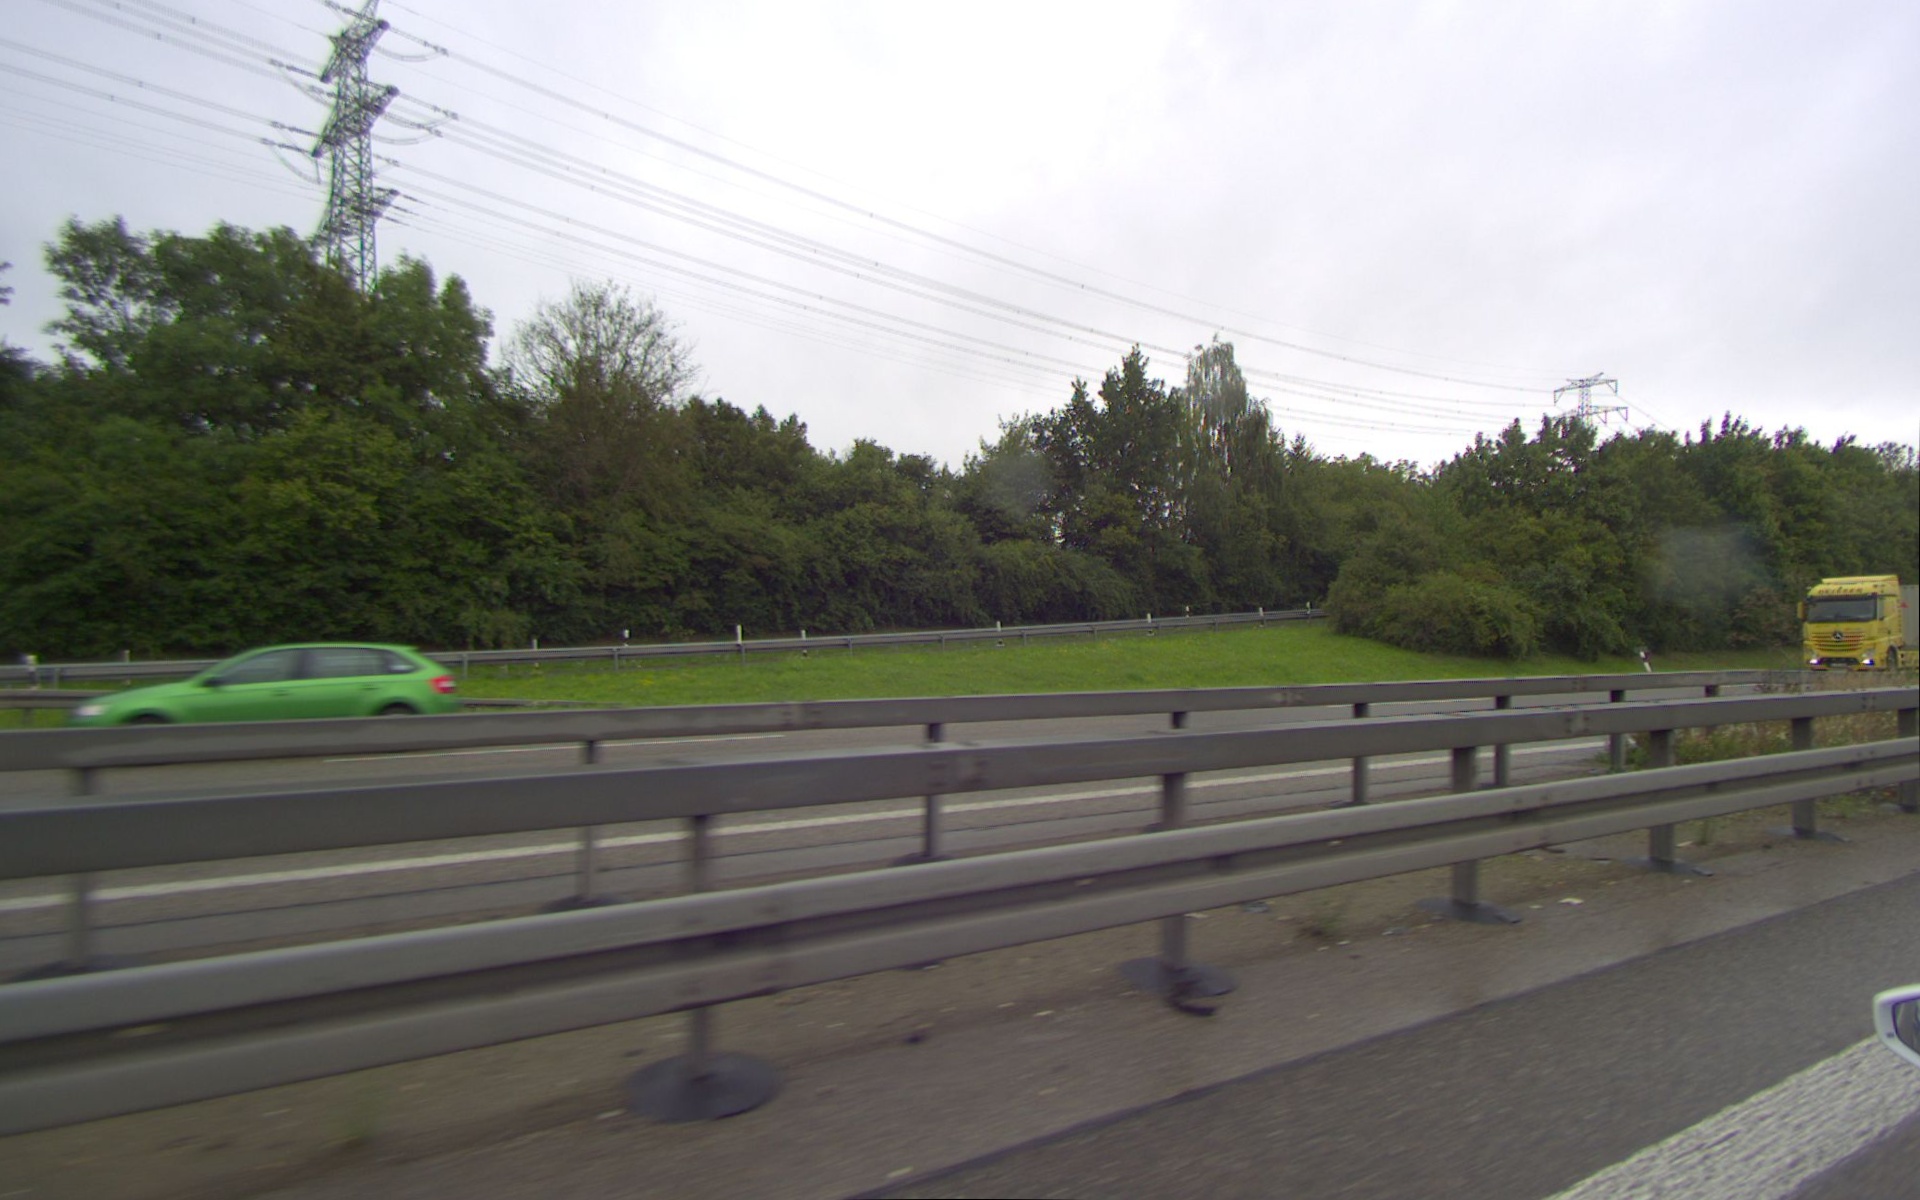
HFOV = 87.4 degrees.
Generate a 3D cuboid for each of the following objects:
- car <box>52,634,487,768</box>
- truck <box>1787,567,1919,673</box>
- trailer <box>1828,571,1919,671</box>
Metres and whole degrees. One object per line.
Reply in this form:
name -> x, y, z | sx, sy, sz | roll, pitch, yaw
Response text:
car -> -8.828, 1.225, 13.346 | 4.461, 1.513, 1.866 | 1, -3, -31
truck -> 37.456, 0.877, 41.798 | 6.086, 4.108, 2.749 | 1, -3, -31
trailer -> 42.315, 1.001, 44.747 | 9.094, 4.108, 2.749 | 1, -3, -31
